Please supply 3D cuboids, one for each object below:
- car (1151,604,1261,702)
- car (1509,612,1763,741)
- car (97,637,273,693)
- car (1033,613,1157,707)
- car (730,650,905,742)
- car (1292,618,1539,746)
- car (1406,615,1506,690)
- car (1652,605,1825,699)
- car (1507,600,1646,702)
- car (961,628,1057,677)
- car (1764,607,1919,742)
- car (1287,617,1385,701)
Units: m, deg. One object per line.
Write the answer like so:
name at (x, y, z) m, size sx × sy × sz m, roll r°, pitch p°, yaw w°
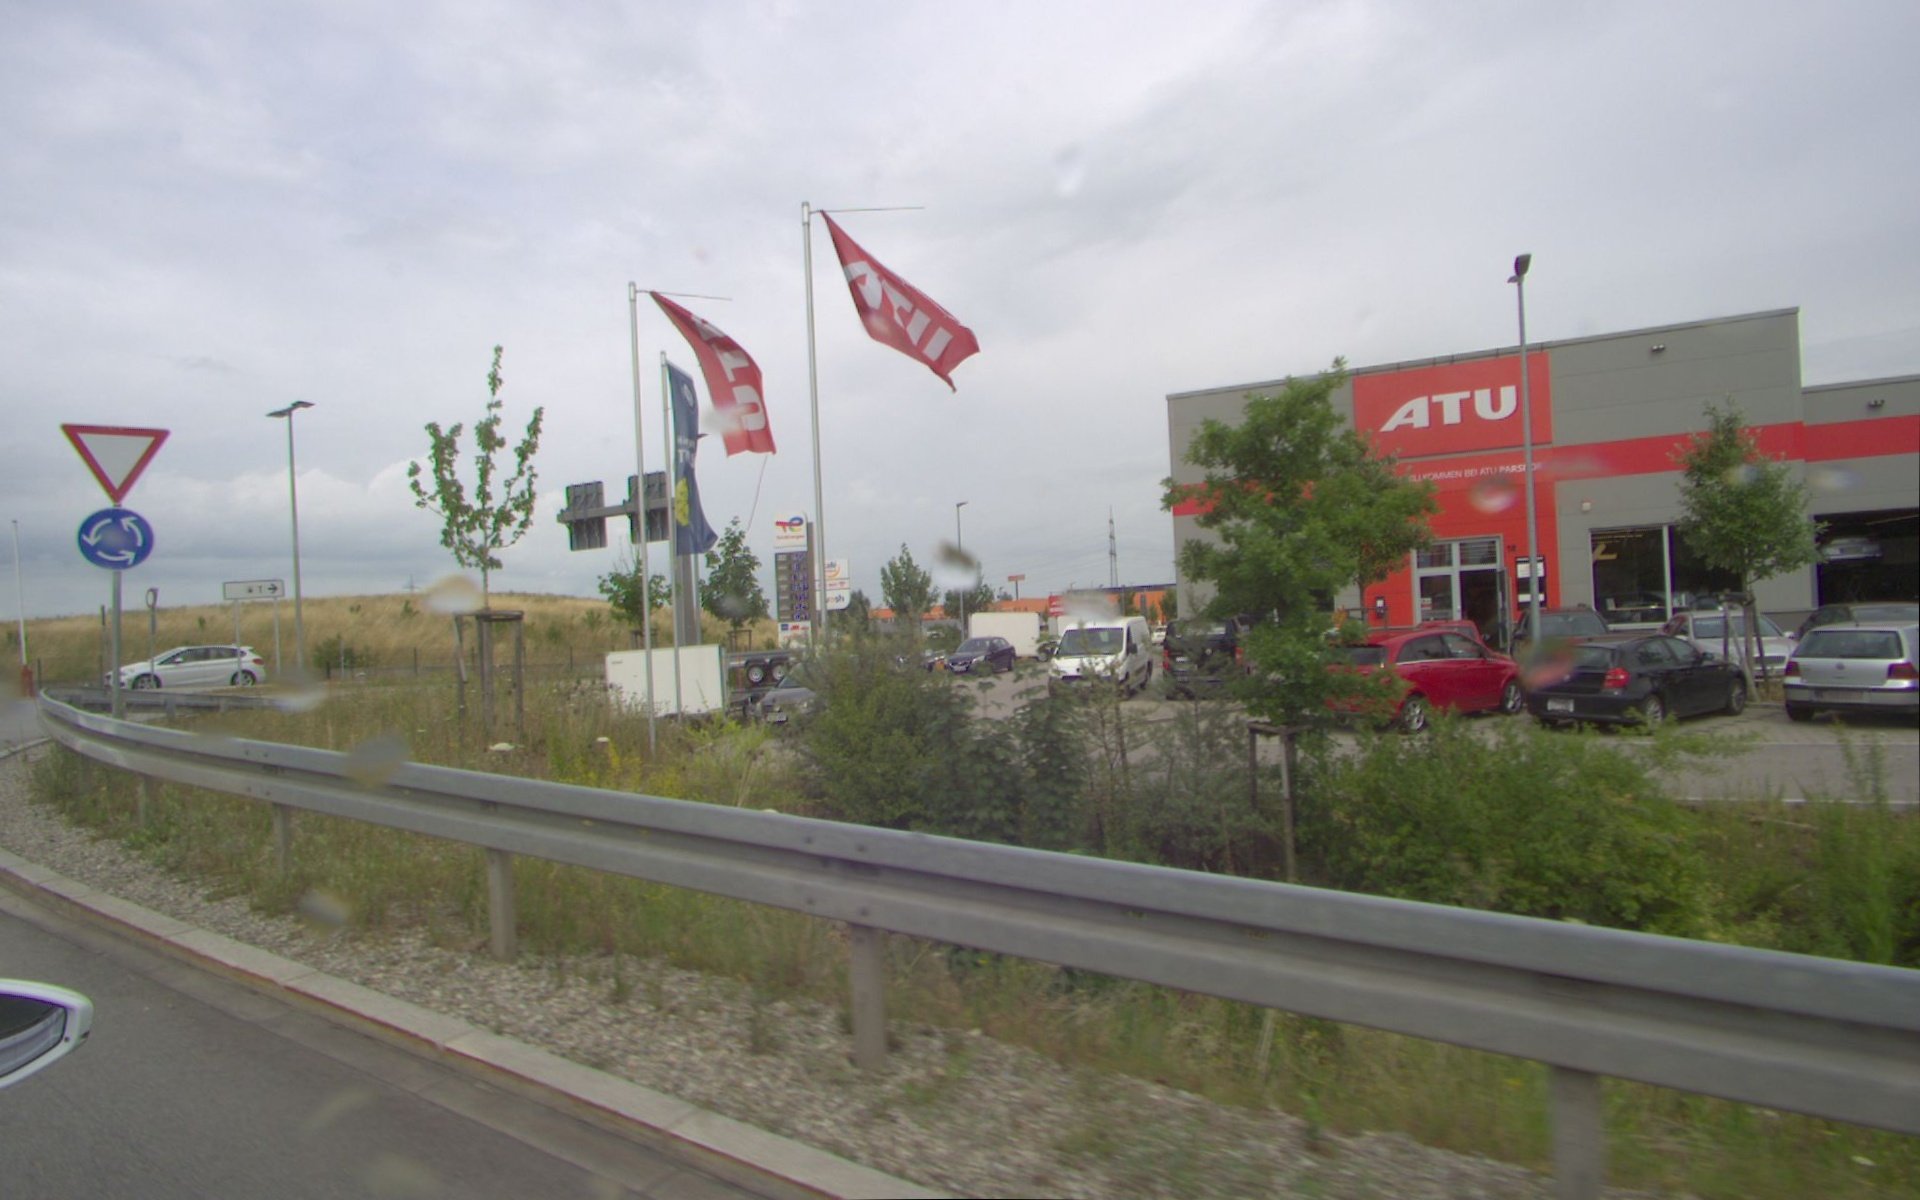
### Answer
car at (5.998, 1.166, 23.956) m, size 1.966 × 1.998 × 5.067 m, roll -2°, pitch 0°, yaw 20°
car at (10.693, 1.108, 15.785) m, size 4.018 × 1.600 × 1.762 m, roll -3°, pitch 0°, yaw -31°
car at (-26.108, 2.137, 33.869) m, size 1.762 × 1.650 × 4.397 m, roll -1°, pitch -1°, yaw 37°
car at (3.499, 1.426, 24.983) m, size 1.966 × 2.073 × 5.069 m, roll -2°, pitch -2°, yaw 20°
car at (-3.131, 2.129, 23.216) m, size 1.932 × 1.697 × 4.825 m, roll -2°, pitch -1°, yaw 20°
car at (7.855, 1.328, 17.192) m, size 4.017 × 1.600 × 1.763 m, roll -6°, pitch 0°, yaw -30°
car at (11.253, 1.194, 22.945) m, size 1.563 × 1.518 × 4.195 m, roll -2°, pitch -3°, yaw 20°
car at (15.121, 1.018, 19.669) m, size 1.563 × 1.658 × 3.694 m, roll -2°, pitch -3°, yaw 20°
car at (12.618, 1.054, 20.746) m, size 1.563 × 1.859 × 4.195 m, roll -2°, pitch -3°, yaw 20°
car at (1.714, 1.929, 36.236) m, size 1.888 × 1.593 × 3.729 m, roll 0°, pitch -4°, yaw -26°
car at (14.096, 1.005, 14.982) m, size 4.014 × 1.600 × 1.763 m, roll -3°, pitch 1°, yaw -28°
car at (8.671, 1.287, 23.211) m, size 1.882 × 1.662 × 4.665 m, roll -2°, pitch -1°, yaw 20°
